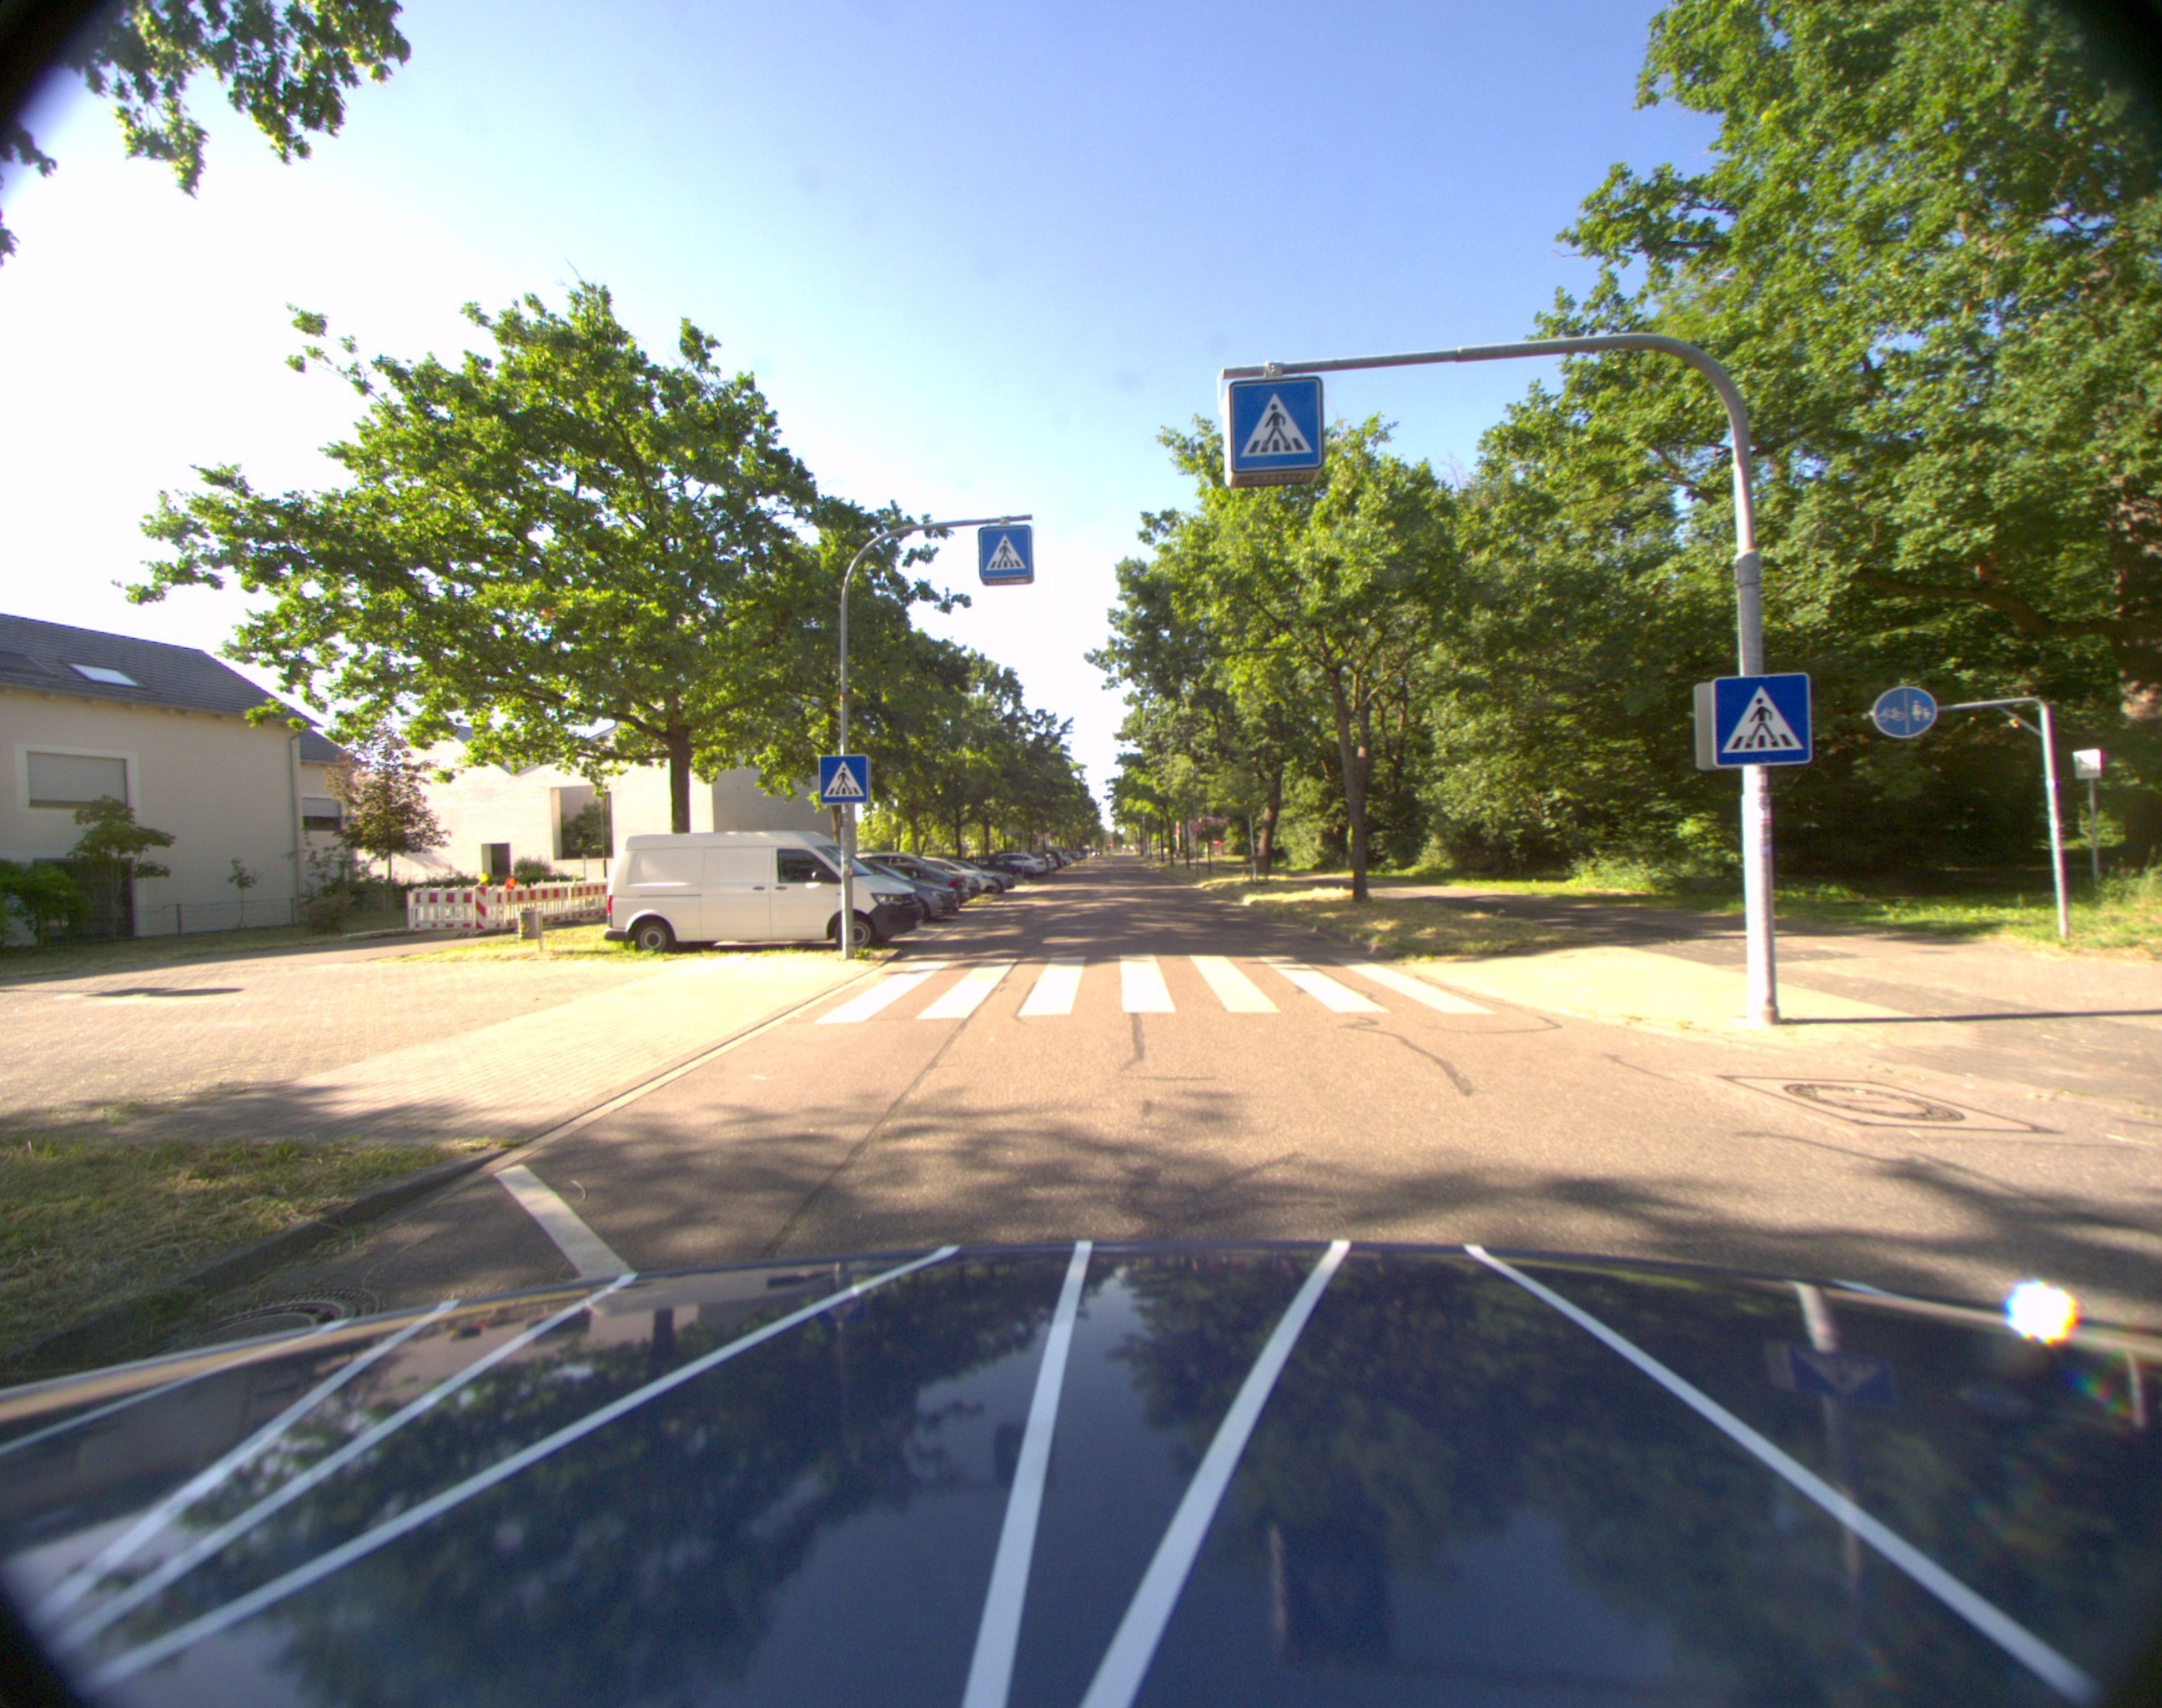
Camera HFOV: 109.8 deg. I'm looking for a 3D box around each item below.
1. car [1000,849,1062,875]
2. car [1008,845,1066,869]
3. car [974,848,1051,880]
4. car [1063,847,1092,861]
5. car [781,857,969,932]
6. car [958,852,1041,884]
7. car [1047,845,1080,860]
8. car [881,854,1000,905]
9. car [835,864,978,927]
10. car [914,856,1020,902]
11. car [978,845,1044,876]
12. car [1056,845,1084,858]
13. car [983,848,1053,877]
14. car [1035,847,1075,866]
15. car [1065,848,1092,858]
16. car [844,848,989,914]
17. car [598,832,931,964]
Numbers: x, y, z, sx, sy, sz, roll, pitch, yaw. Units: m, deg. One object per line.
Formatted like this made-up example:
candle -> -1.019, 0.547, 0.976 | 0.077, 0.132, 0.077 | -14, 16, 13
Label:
car -> -3.764, 0.574, 57.631 | 4.394, 1.733, 1.533 | -3, 1, 4
car -> -3.463, 0.224, 60.132 | 4.394, 1.733, 1.533 | -3, 1, 4
car -> -4.136, 0.600, 46.368 | 4.394, 1.733, 1.533 | -3, 1, 4
car -> -0.483, -0.018, 112.450 | 4.151, 1.838, 1.949 | -3, 1, 3
car -> -4.955, 0.965, 18.626 | 3.996, 1.554, 1.758 | -3, 1, 4
car -> -4.608, 0.783, 43.354 | 4.394, 1.632, 1.533 | -3, 1, 4
car -> -2.346, -0.204, 101.220 | 4.151, 1.838, 1.949 | -3, 1, 3
car -> -5.175, 0.920, 28.257 | 4.018, 1.669, 1.533 | -3, 1, 4
car -> -4.778, 1.126, 21.095 | 3.515, 1.533, 1.448 | -3, 1, 4
car -> -4.646, 1.012, 31.237 | 4.018, 1.650, 1.533 | -3, 1, 4
car -> -4.907, 0.428, 53.819 | 4.394, 1.977, 1.533 | -3, 1, 4
car -> -1.745, -0.334, 117.550 | 4.151, 1.838, 1.949 | -3, 1, 3
car -> -4.175, 0.561, 50.568 | 4.394, 1.733, 1.533 | -3, 1, 4
car -> -2.707, 0.241, 80.268 | 3.996, 1.838, 1.863 | -3, 1, 3
car -> -0.405, -0.106, 122.537 | 4.151, 1.401, 1.800 | -3, 1, 3
car -> -5.055, 0.813, 23.653 | 4.018, 1.783, 1.713 | -3, 1, 4
car -> -5.404, 0.728, 13.459 | 5.045, 2.069, 1.891 | -1, 1, 2
